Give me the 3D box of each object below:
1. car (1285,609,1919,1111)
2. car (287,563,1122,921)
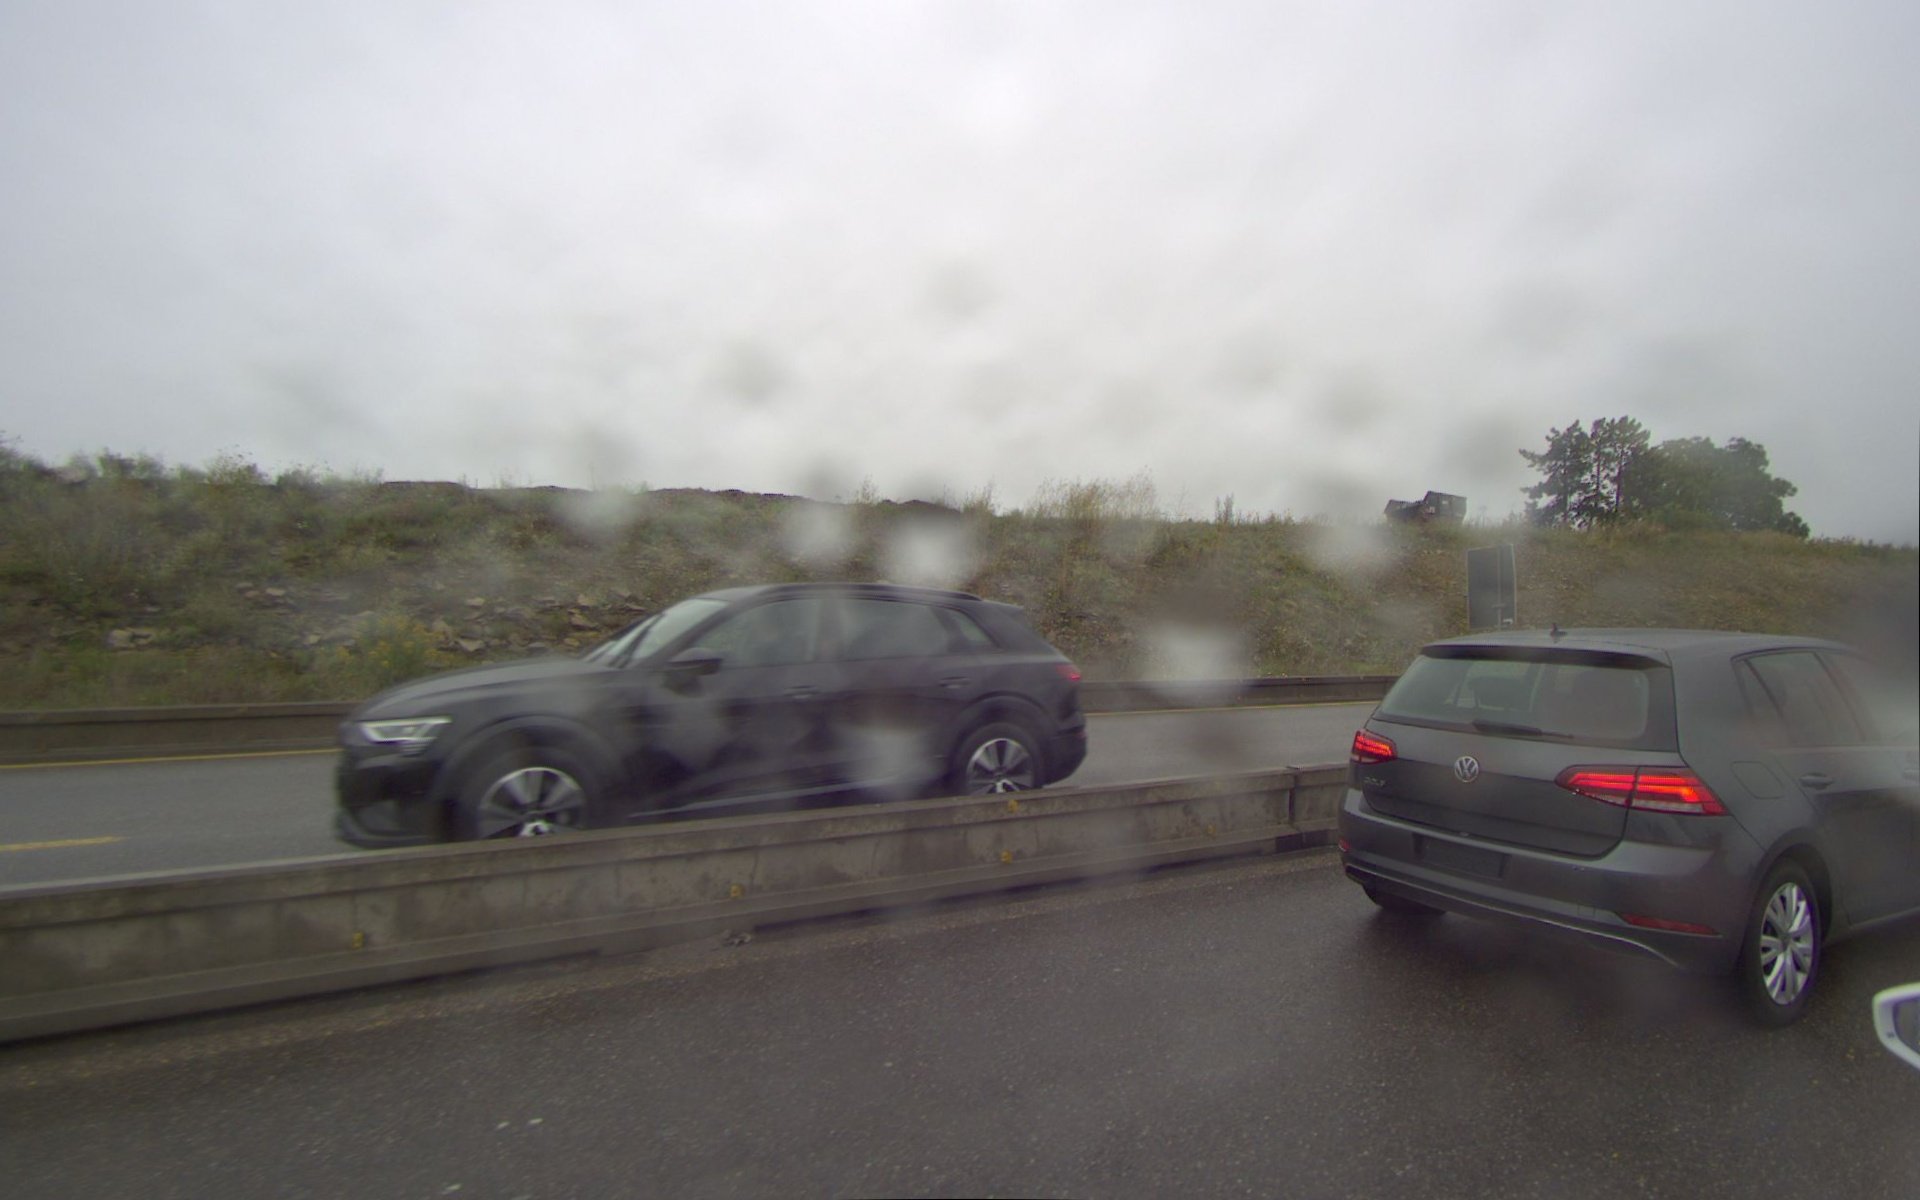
[{"bbox_3d":[3.695,0.858,4.884,4.318,1.526,1.606,1,-2,-31],"label":"car"},{"bbox_3d":[-1.395,0.712,6.568,4.845,1.614,1.802,1,-2,-31],"label":"car"}]
